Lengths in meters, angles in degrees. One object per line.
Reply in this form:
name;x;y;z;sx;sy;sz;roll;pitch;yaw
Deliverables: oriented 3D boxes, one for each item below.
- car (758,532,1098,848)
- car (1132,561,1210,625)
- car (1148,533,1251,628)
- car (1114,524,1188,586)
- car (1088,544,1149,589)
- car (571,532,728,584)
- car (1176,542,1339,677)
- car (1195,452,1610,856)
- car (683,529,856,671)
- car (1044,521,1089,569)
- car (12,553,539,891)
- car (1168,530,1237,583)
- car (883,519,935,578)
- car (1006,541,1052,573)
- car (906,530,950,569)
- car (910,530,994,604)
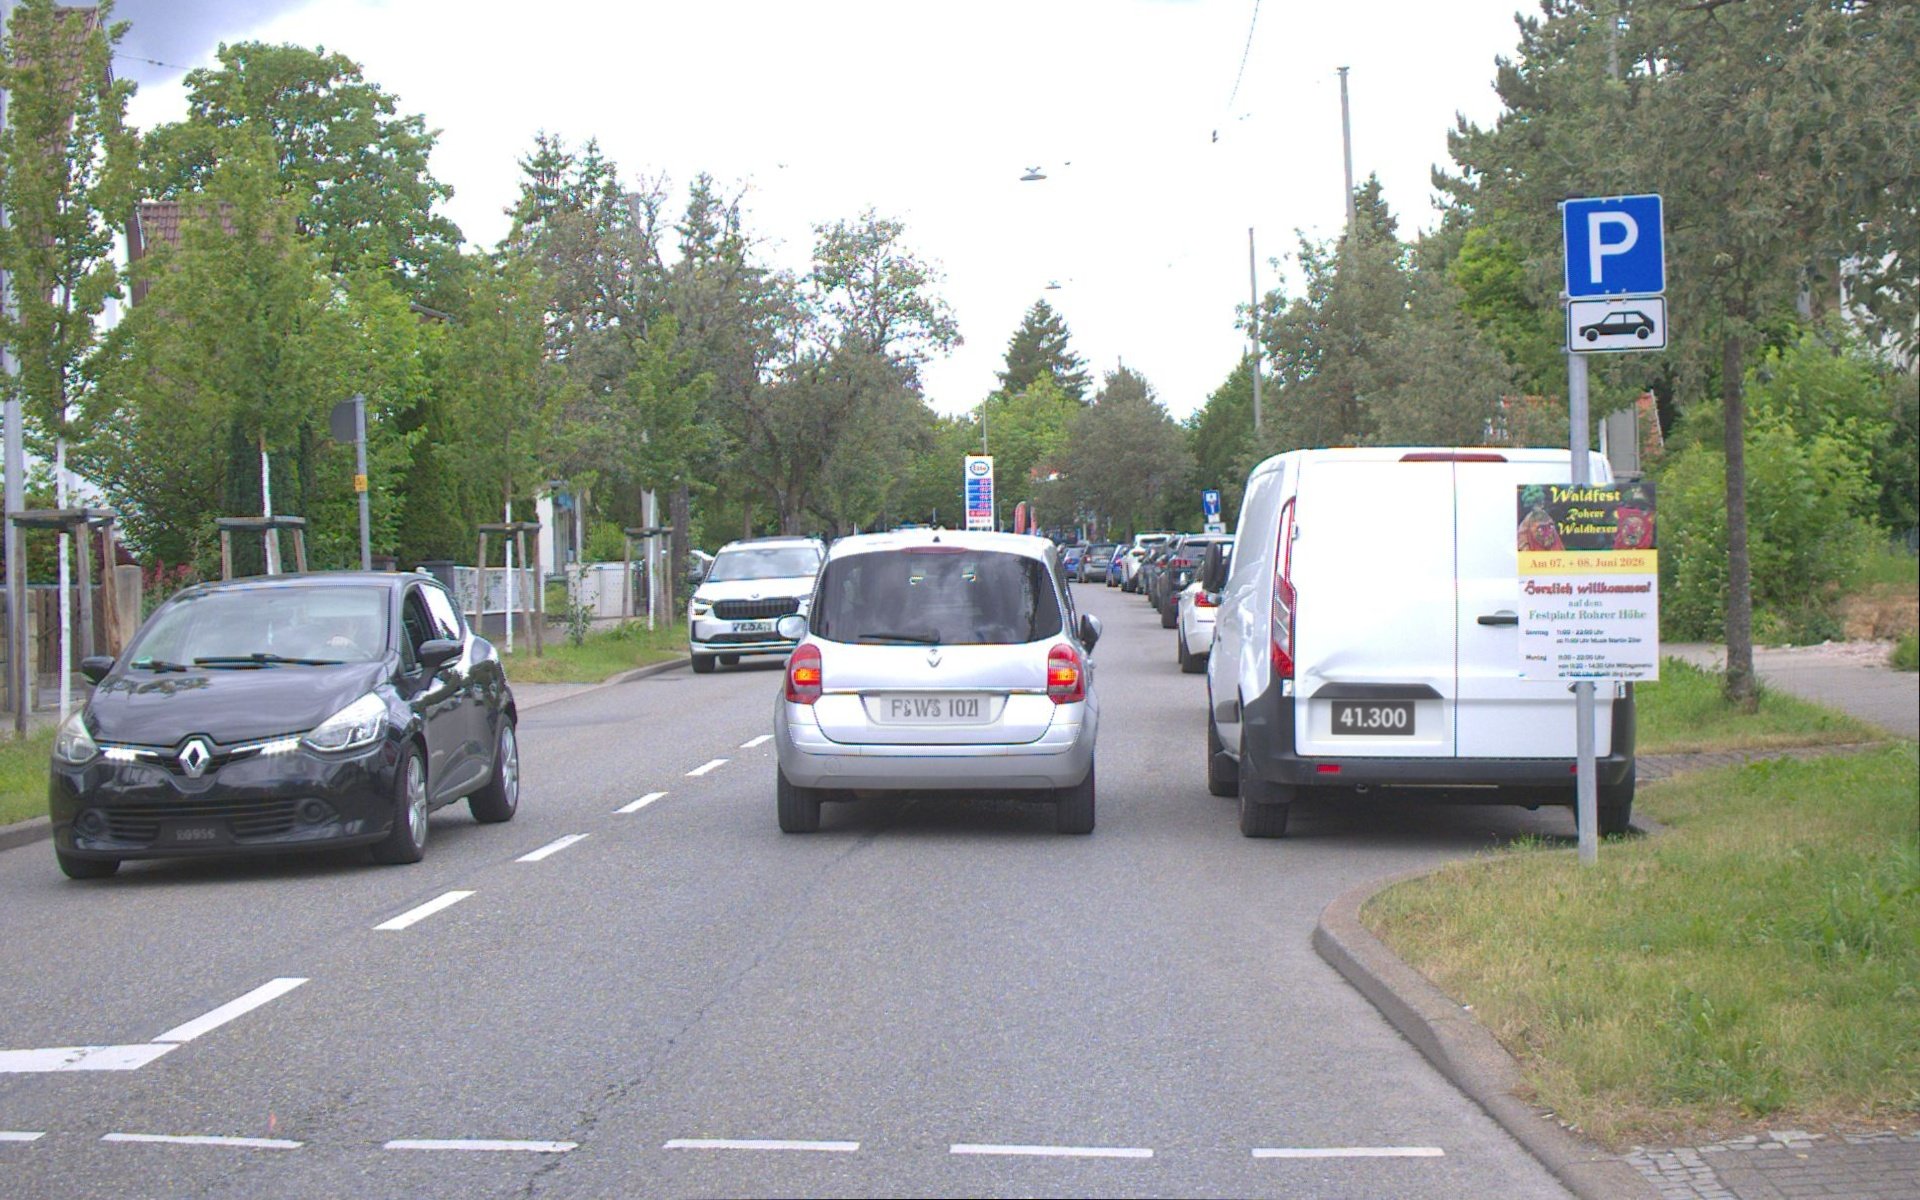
car;-0.093;0.417;18.862;1.679;1.554;3.511;1;1;2
car;4.303;-0.155;70.474;1.481;1.232;3.884;1;1;2
car;4.144;-0.360;59.959;1.688;1.603;4.109;0;1;3
car;5.637;-1.334;101.683;1.799;1.772;4.705;0;1;-2
car;5.368;-1.131;117.002;1.626;1.447;3.876;-2;1;-3
car;-8.579;-1.160;95.293;4.278;1.363;1.816;1;0;-4
car;3.405;0.070;39.989;1.693;1.448;4.404;1;1;3
car;2.285;0.216;18.878;1.775;1.937;4.789;0;1;1
car;-2.434;-0.033;44.878;1.814;1.687;4.466;-3;1;2
car;6.446;-3.337;208.994;2.281;2.901;5.280;0;1;-3
car;-3.363;0.528;17.636;1.616;1.467;4.000;-2;1;4
car;6.767;-1.226;96.086;1.558;1.438;3.507;0;1;-2
car;-2.347;-2.376;158.847;2.073;2.573;5.300;-3;1;1
car;3.267;-2.054;163.979;1.695;1.501;3.973;-1;1;-6
car;-1.495;-2.326;159.176;1.835;1.708;4.000;-2;1;-2
car;-0.171;-0.845;85.683;1.795;1.746;4.298;-2;1;3
